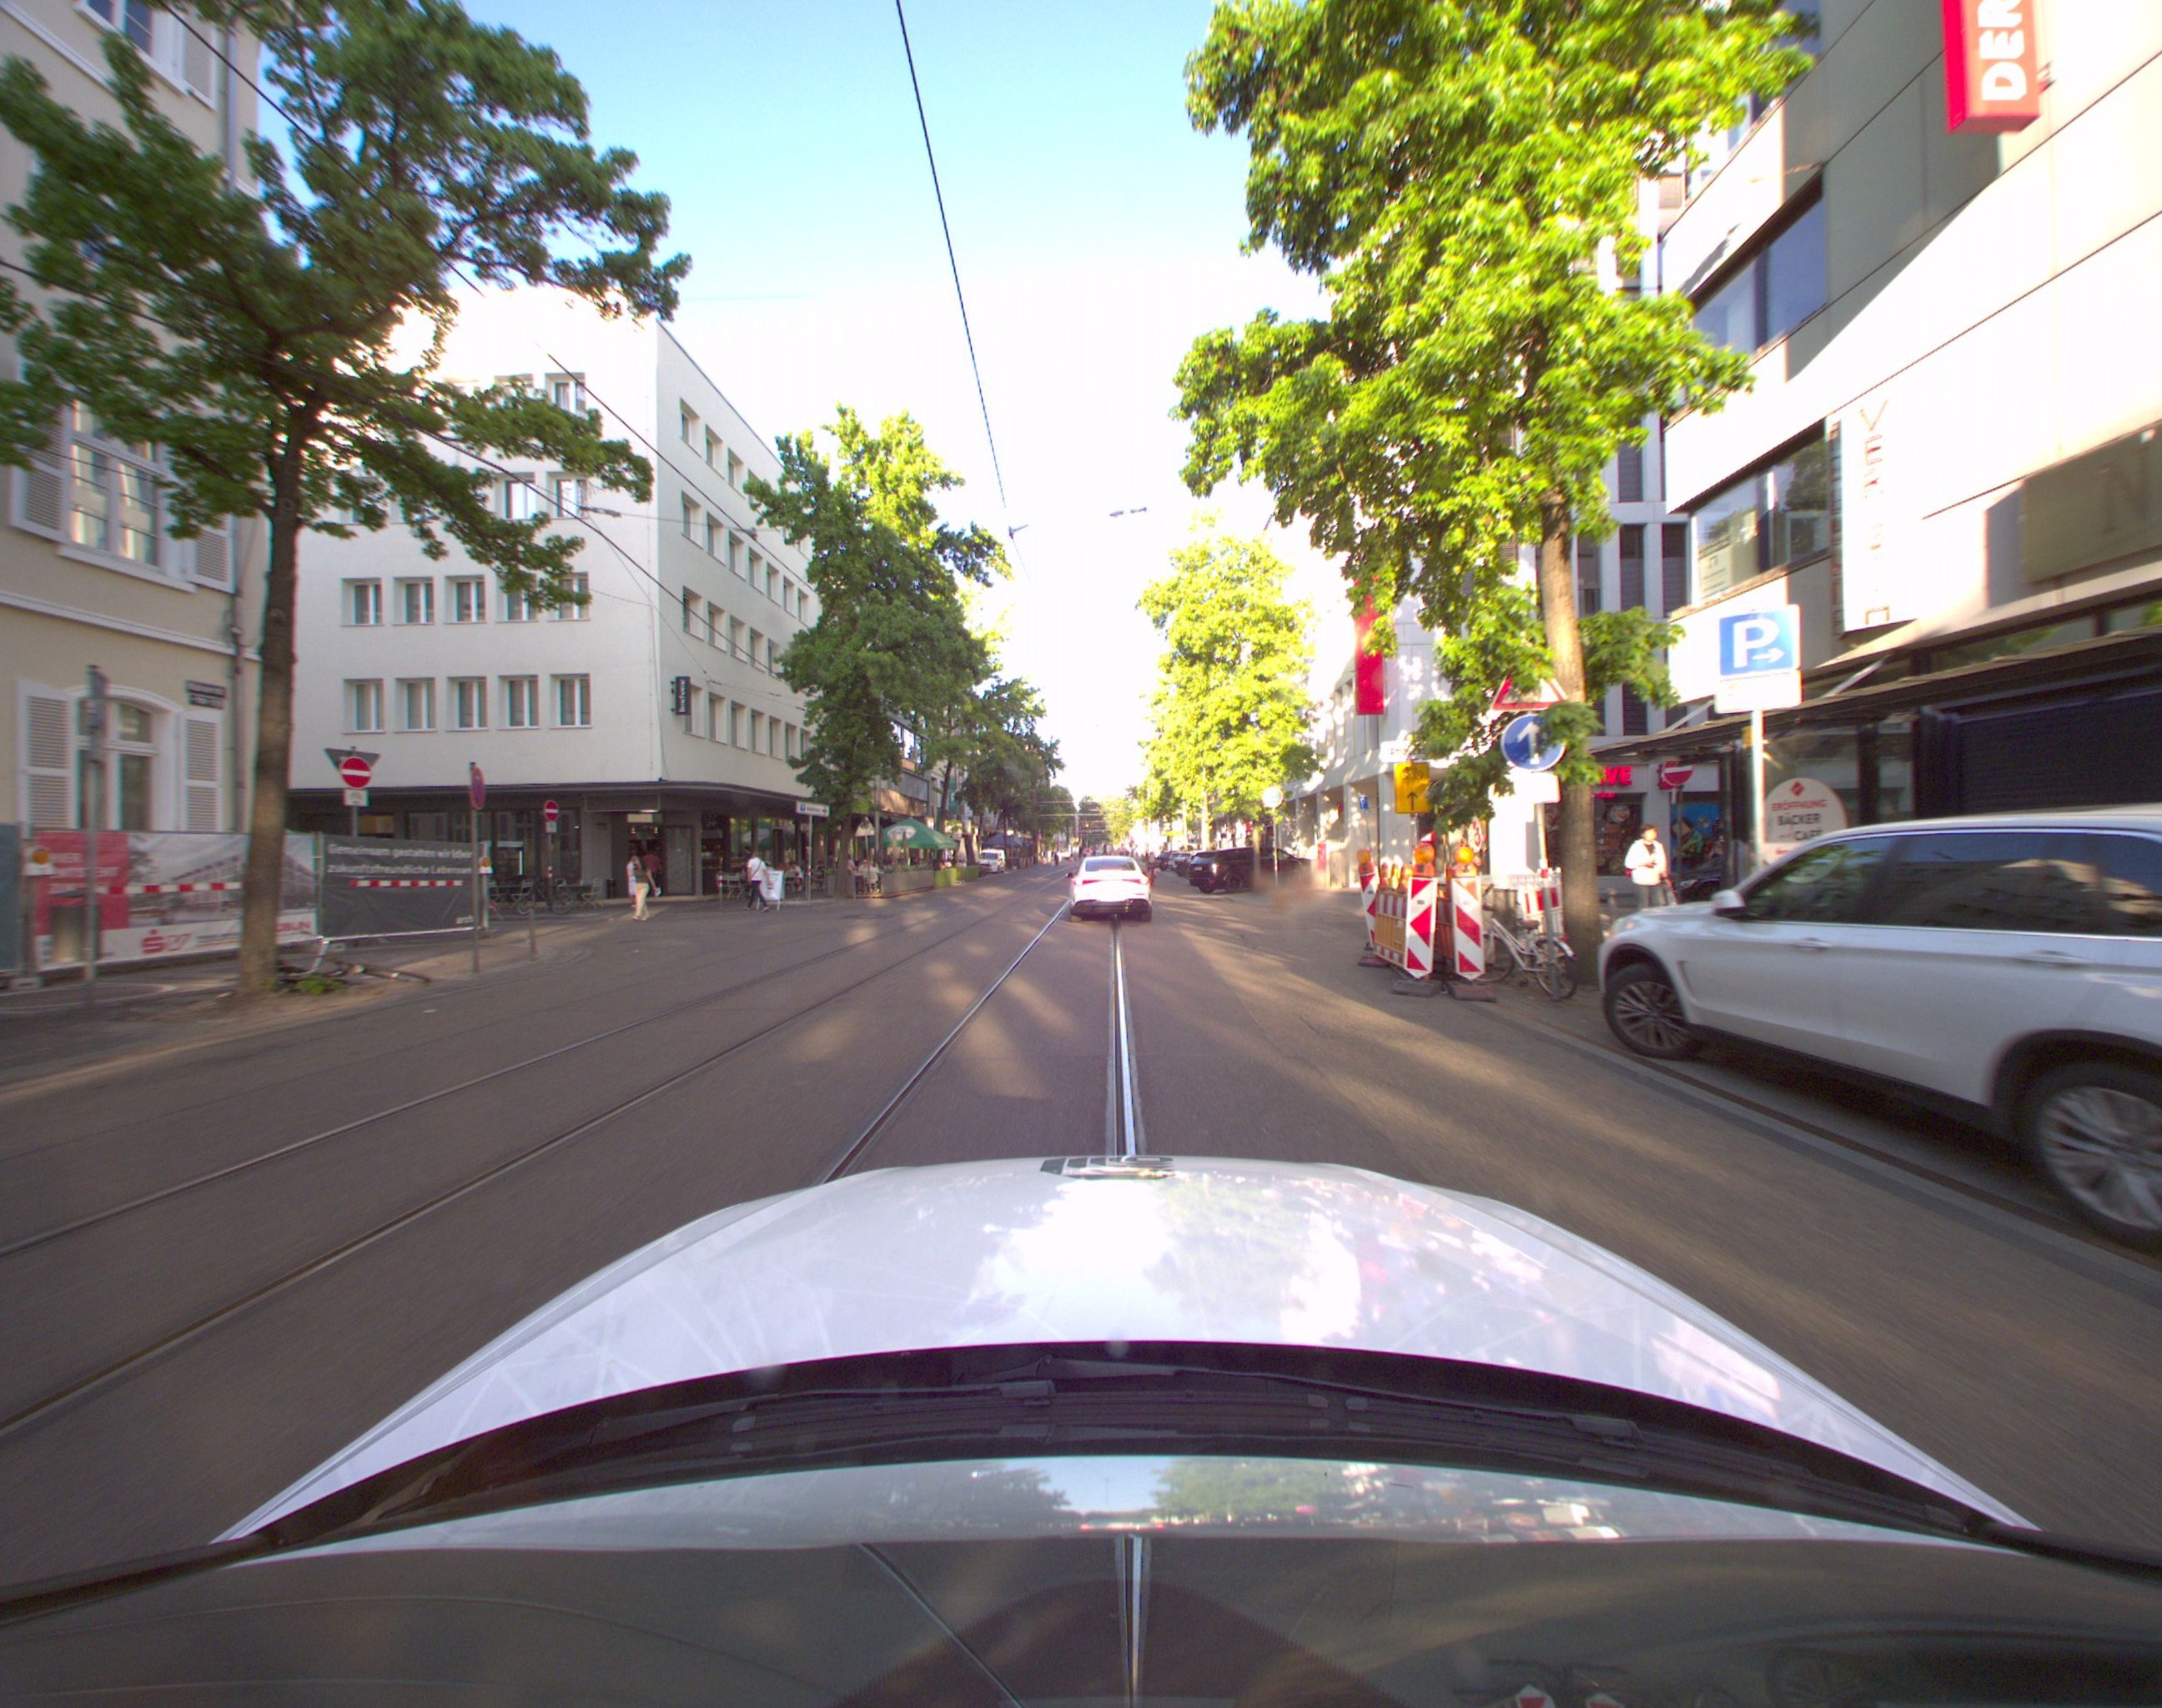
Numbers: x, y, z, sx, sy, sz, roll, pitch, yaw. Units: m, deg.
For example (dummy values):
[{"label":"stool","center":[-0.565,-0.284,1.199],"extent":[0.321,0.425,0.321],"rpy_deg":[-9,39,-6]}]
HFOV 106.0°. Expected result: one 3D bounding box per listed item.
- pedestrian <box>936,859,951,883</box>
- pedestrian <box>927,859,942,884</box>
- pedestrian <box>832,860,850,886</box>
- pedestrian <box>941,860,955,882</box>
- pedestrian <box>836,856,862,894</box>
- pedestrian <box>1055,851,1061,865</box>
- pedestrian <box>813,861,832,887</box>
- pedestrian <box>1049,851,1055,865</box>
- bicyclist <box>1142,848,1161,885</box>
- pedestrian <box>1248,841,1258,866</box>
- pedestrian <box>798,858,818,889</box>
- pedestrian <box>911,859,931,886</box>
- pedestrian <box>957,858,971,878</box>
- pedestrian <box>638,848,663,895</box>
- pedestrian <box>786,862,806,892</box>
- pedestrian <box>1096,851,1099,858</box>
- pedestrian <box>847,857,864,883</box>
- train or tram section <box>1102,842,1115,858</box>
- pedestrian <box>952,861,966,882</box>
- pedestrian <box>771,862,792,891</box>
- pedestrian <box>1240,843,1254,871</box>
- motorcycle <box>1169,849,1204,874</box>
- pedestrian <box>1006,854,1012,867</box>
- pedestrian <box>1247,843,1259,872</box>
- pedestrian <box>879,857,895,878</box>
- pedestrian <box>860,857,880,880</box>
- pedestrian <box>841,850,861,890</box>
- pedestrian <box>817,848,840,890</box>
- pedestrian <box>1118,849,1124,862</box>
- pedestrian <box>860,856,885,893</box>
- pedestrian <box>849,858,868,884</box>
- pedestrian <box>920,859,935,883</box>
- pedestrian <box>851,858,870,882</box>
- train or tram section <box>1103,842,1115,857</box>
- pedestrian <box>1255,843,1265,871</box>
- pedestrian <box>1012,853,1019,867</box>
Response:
[{"label":"pedestrian","center":[-7.327,0.895,43.269],"extent":[0.616,1.245,0.697],"rpy_deg":[2,0,1]},{"label":"pedestrian","center":[-7.623,0.916,42.464],"extent":[0.616,1.245,0.697],"rpy_deg":[2,0,1]},{"label":"pedestrian","center":[-11.339,0.901,38.524],"extent":[0.599,1.174,0.687],"rpy_deg":[1,0,2]},{"label":"pedestrian","center":[-8.051,1.049,49.382],"extent":[0.654,1.293,0.798],"rpy_deg":[2,0,1]},{"label":"pedestrian","center":[-8.759,0.788,30.792],"extent":[0.686,1.386,0.807],"rpy_deg":[1,0,3]},{"label":"pedestrian","center":[-2.575,0.407,90.445],"extent":[0.620,1.550,0.853],"rpy_deg":[1,0,2]},{"label":"pedestrian","center":[-11.521,0.885,36.298],"extent":[0.550,1.161,0.687],"rpy_deg":[1,0,2]},{"label":"pedestrian","center":[-3.185,0.426,89.480],"extent":[0.620,1.509,0.834],"rpy_deg":[1,0,2]},{"label":"bicyclist","center":[3.182,0.545,36.683],"extent":[0.772,1.613,0.915],"rpy_deg":[1,0,11]},{"label":"pedestrian","center":[12.369,-0.036,58.588],"extent":[0.555,1.750,0.525],"rpy_deg":[-3,0,2]},{"label":"pedestrian","center":[-11.865,0.852,35.458],"extent":[0.599,1.298,0.687],"rpy_deg":[1,0,2]},{"label":"pedestrian","center":[-7.734,0.903,39.381],"extent":[0.705,1.259,0.773],"rpy_deg":[1,0,4]},{"label":"pedestrian","center":[-7.250,0.883,50.405],"extent":[0.654,1.193,0.798],"rpy_deg":[2,0,1]},{"label":"pedestrian","center":[-14.885,0.586,28.164],"extent":[0.399,1.604,0.625],"rpy_deg":[-1,0,36]},{"label":"pedestrian","center":[-11.633,0.936,33.279],"extent":[0.550,1.161,0.687],"rpy_deg":[1,0,2]},{"label":"pedestrian","center":[4.199,0.153,203.250],"extent":[0.797,1.782,0.849],"rpy_deg":[1,0,1]},{"label":"pedestrian","center":[-11.619,0.810,42.044],"extent":[0.616,1.309,0.697],"rpy_deg":[2,0,1]},{"label":"train or tram section","center":[6.429,-0.939,188.097],"extent":[2.684,3.516,12.552],"rpy_deg":[-1,0,2]},{"label":"pedestrian","center":[-7.398,1.052,49.453],"extent":[0.654,1.244,0.873],"rpy_deg":[2,0,1]},{"label":"pedestrian","center":[-12.183,0.912,33.165],"extent":[0.550,1.161,0.687],"rpy_deg":[1,0,2]},{"label":"pedestrian","center":[10.152,0.175,49.822],"extent":[0.679,1.696,0.548],"rpy_deg":[-1,0,-11]},{"label":"motorcycle","center":[6.980,0.511,53.844],"extent":[2.332,1.509,0.849],"rpy_deg":[-3,-1,-42]},{"label":"pedestrian","center":[-6.906,0.616,77.964],"extent":[0.493,1.228,0.535],"rpy_deg":[0,0,1]},{"label":"pedestrian","center":[10.593,0.220,50.155],"extent":[0.521,1.750,0.559],"rpy_deg":[-3,0,4]},{"label":"pedestrian","center":[-11.295,0.795,47.524],"extent":[0.697,1.168,0.788],"rpy_deg":[2,0,1]},{"label":"pedestrian","center":[-11.471,0.779,44.194],"extent":[0.774,1.237,0.945],"rpy_deg":[2,0,1]},{"label":"pedestrian","center":[-9.805,0.676,34.753],"extent":[0.616,1.670,0.697],"rpy_deg":[1,0,1]},{"label":"pedestrian","center":[-10.696,0.629,34.511],"extent":[0.675,1.757,0.697],"rpy_deg":[1,0,3]},{"label":"pedestrian","center":[5.374,0.219,108.698],"extent":[0.838,1.801,0.791],"rpy_deg":[1,0,3]},{"label":"pedestrian","center":[-7.900,0.775,30.846],"extent":[0.686,1.386,0.807],"rpy_deg":[1,0,3]},{"label":"pedestrian","center":[-11.077,0.847,40.533],"extent":[0.667,1.242,0.799],"rpy_deg":[1,0,1]},{"label":"pedestrian","center":[-8.176,0.898,43.349],"extent":[0.616,1.245,0.697],"rpy_deg":[2,0,1]},{"label":"pedestrian","center":[-11.611,0.833,42.959],"extent":[0.734,1.231,0.788],"rpy_deg":[2,0,1]},{"label":"train or tram section","center":[6.937,-0.990,200.647],"extent":[2.684,3.516,12.552],"rpy_deg":[-1,0,2]},{"label":"pedestrian","center":[11.018,0.164,50.173],"extent":[0.514,1.696,0.551],"rpy_deg":[-1,0,6]},{"label":"pedestrian","center":[-6.135,0.585,76.579],"extent":[0.547,1.356,0.583],"rpy_deg":[0,0,1]}]
